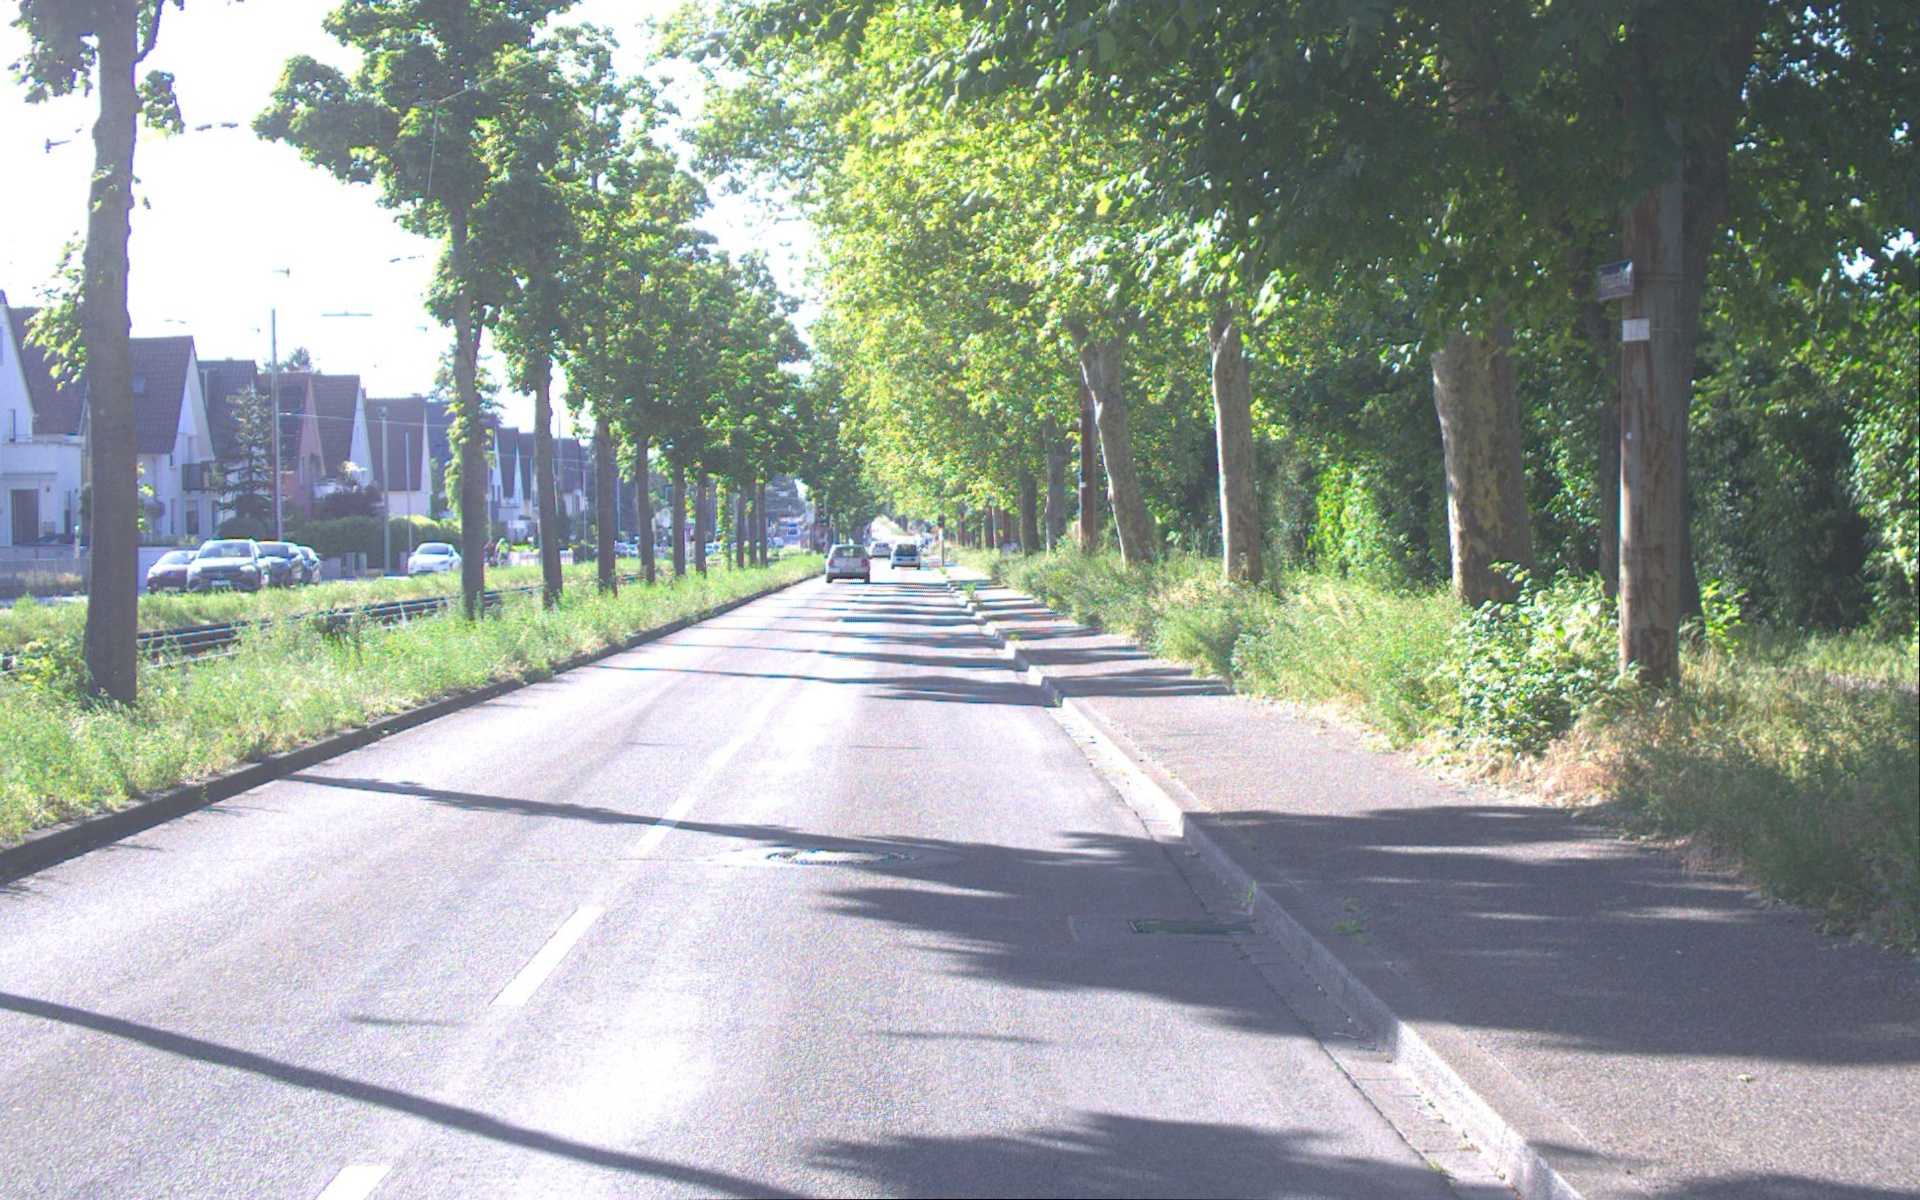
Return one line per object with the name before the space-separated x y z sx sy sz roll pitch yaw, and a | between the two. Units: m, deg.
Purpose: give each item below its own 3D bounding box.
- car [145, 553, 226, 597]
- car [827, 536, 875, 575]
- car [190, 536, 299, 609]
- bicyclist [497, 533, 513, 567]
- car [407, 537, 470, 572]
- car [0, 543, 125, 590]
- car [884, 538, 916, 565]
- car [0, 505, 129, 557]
car | -23.354 -0.765 103.789 1.494 1.321 4.000 0 1 1
car | -4.018 -1.650 127.283 1.738 1.396 3.277 0 1 -1
car | -18.917 -0.742 91.074 1.915 1.876 4.524 0 1 0
bicyclist | -21.730 -2.396 164.180 0.688 1.646 0.881 0 1 -1
car | -24.224 -2.121 159.780 1.994 1.593 4.731 0 1 3
car | -28.218 -1.039 106.738 4.212 1.458 1.938 0 1 -4
car | -3.360 -2.730 192.632 1.761 1.508 3.277 0 1 0
car | -29.208 -2.227 111.775 3.986 1.664 2.000 0 1 -4
